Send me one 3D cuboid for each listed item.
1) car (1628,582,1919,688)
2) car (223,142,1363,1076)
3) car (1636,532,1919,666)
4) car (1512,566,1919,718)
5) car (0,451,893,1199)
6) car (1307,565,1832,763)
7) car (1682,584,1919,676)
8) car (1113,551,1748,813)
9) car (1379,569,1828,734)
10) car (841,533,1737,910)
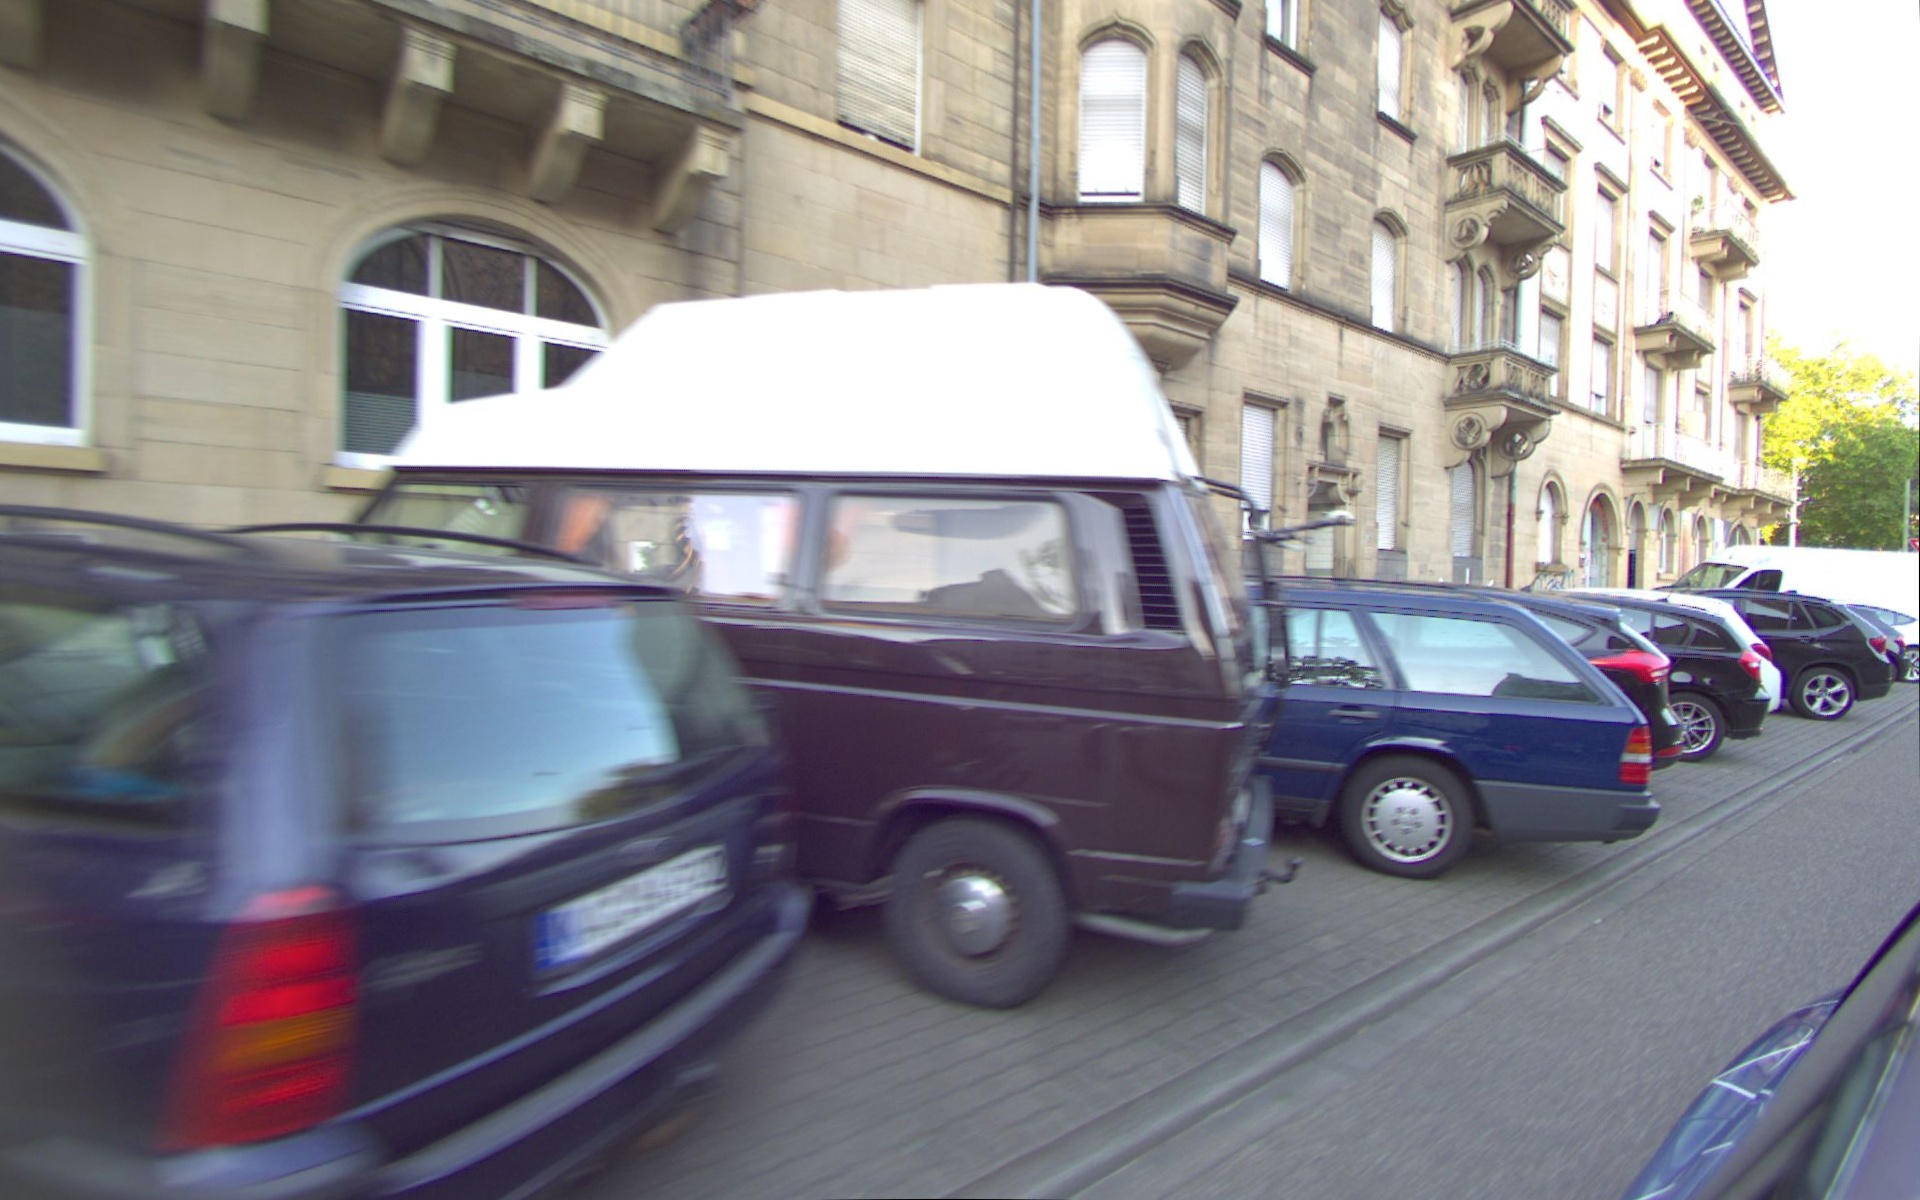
[{"bbox_3d":[14.131,0.557,17.424,3.854,1.463,1.871,3,4,10],"label":"car"},{"bbox_3d":[-0.762,-0.041,4.533,4.668,2.578,1.905,1,2,21],"label":"car"},{"bbox_3d":[18.205,-0.076,21.547,5.788,2.582,2.192,2,3,9],"label":"car"},{"bbox_3d":[9.891,0.466,13.439,4.036,1.627,1.811,3,3,12],"label":"car"},{"bbox_3d":[-2.533,0.535,2.781,4.306,1.521,1.899,2,1,22],"label":"car"},{"bbox_3d":[5.646,0.495,10.011,3.979,1.449,1.860,4,3,16],"label":"car"},{"bbox_3d":[16.634,0.548,19.251,4.188,1.471,1.994,2,3,12],"label":"car"},{"bbox_3d":[3.443,0.455,8.095,4.074,1.564,1.783,3,4,22],"label":"car"},{"bbox_3d":[7.241,0.495,11.875,3.999,1.516,1.747,3,3,15],"label":"car"},{"bbox_3d":[1.659,0.471,6.114,4.344,1.504,1.832,4,3,20],"label":"car"}]
